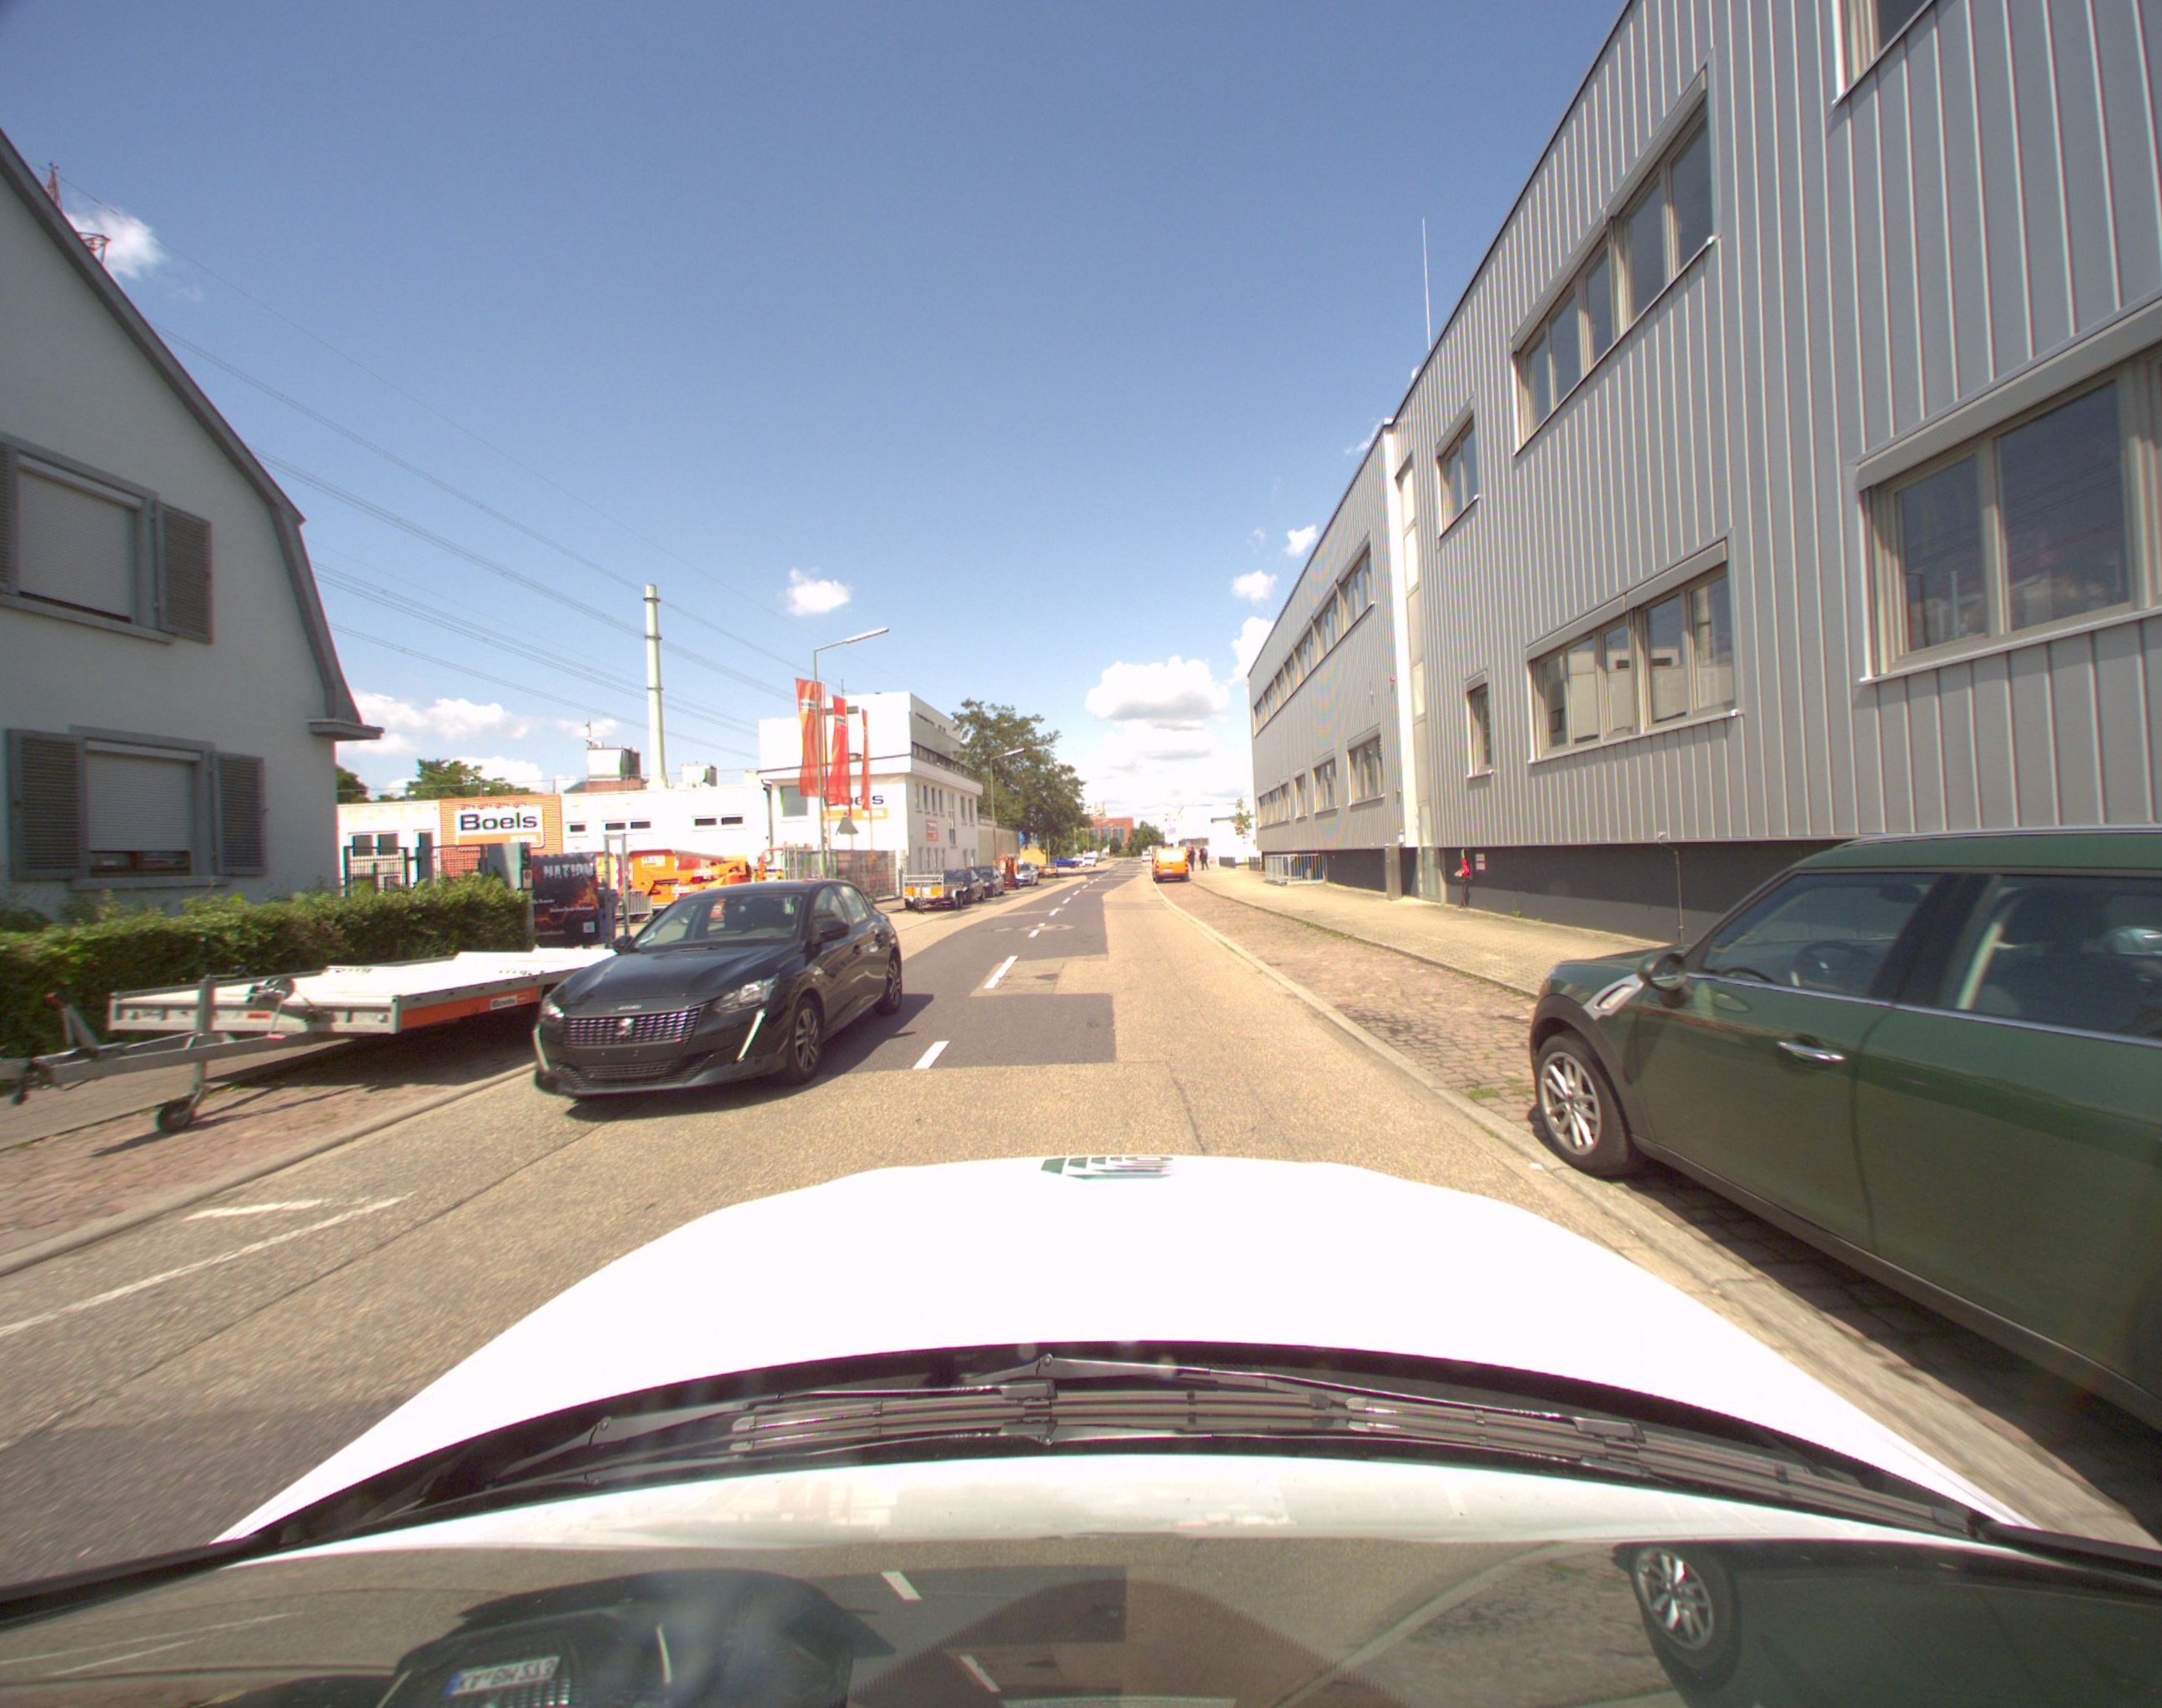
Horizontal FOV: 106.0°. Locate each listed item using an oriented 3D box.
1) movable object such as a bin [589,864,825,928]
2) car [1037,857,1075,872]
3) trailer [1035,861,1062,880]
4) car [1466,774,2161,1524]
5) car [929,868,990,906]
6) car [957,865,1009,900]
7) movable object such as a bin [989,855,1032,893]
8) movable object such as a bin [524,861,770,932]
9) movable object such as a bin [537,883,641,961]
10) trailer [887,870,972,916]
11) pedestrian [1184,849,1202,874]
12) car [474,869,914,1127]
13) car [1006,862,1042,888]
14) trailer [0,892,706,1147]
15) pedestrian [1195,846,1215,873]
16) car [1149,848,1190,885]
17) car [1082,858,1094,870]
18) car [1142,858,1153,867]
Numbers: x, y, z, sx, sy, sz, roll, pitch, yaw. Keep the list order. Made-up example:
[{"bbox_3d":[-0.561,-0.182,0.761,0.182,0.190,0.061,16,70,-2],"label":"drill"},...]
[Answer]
[{"bbox_3d":[-13.518,1.498,29.815,7.583,2.005,1.903,-2,-1,-4],"label":"movable object such as a bin"},{"bbox_3d":[-3.265,1.416,106.215,4.686,1.593,1.909,-4,-1,-10],"label":"car"},{"bbox_3d":[-2.637,1.340,66.659,1.759,1.439,4.340,0,-1,4],"label":"trailer"},{"bbox_3d":[3.061,0.605,2.711,1.704,1.511,4.116,0,-1,2],"label":"car"},{"bbox_3d":[-4.811,1.277,32.711,1.666,1.376,3.886,-1,-1,2],"label":"car"},{"bbox_3d":[-4.377,1.250,37.064,1.666,1.455,4.226,-1,-1,2],"label":"car"},{"bbox_3d":[-3.770,1.053,44.394,1.607,1.919,5.142,1,0,3],"label":"movable object such as a bin"},{"bbox_3d":[-14.050,1.333,26.712,6.847,2.005,1.903,-2,-1,-4],"label":"movable object such as a bin"},{"bbox_3d":[-9.929,1.351,16.489,1.312,1.427,1.188,-3,-1,-2],"label":"movable object such as a bin"},{"bbox_3d":[-5.041,1.259,27.864,1.760,1.376,5.053,-1,-1,2],"label":"trailer"},{"bbox_3d":[8.311,0.558,60.424,0.859,1.807,0.999,-3,-1,-19],"label":"pedestrian"},{"bbox_3d":[-2.785,0.914,6.993,1.729,1.442,4.000,-4,-1,1],"label":"car"},{"bbox_3d":[-3.428,1.261,49.781,1.666,1.455,4.516,-1,-1,2],"label":"car"},{"bbox_3d":[-6.203,1.059,7.486,2.441,1.164,6.057,-1,-1,3],"label":"trailer"},{"bbox_3d":[9.324,0.449,61.129,0.992,1.951,1.084,-3,-1,-19],"label":"pedestrian"},{"bbox_3d":[4.808,0.665,44.776,1.864,1.892,4.454,1,-1,2],"label":"car"},{"bbox_3d":[1.057,1.410,118.038,1.680,1.664,3.999,-2,0,0],"label":"car"},{"bbox_3d":[12.033,1.630,147.744,1.859,1.520,4.602,-2,-1,3],"label":"car"}]
